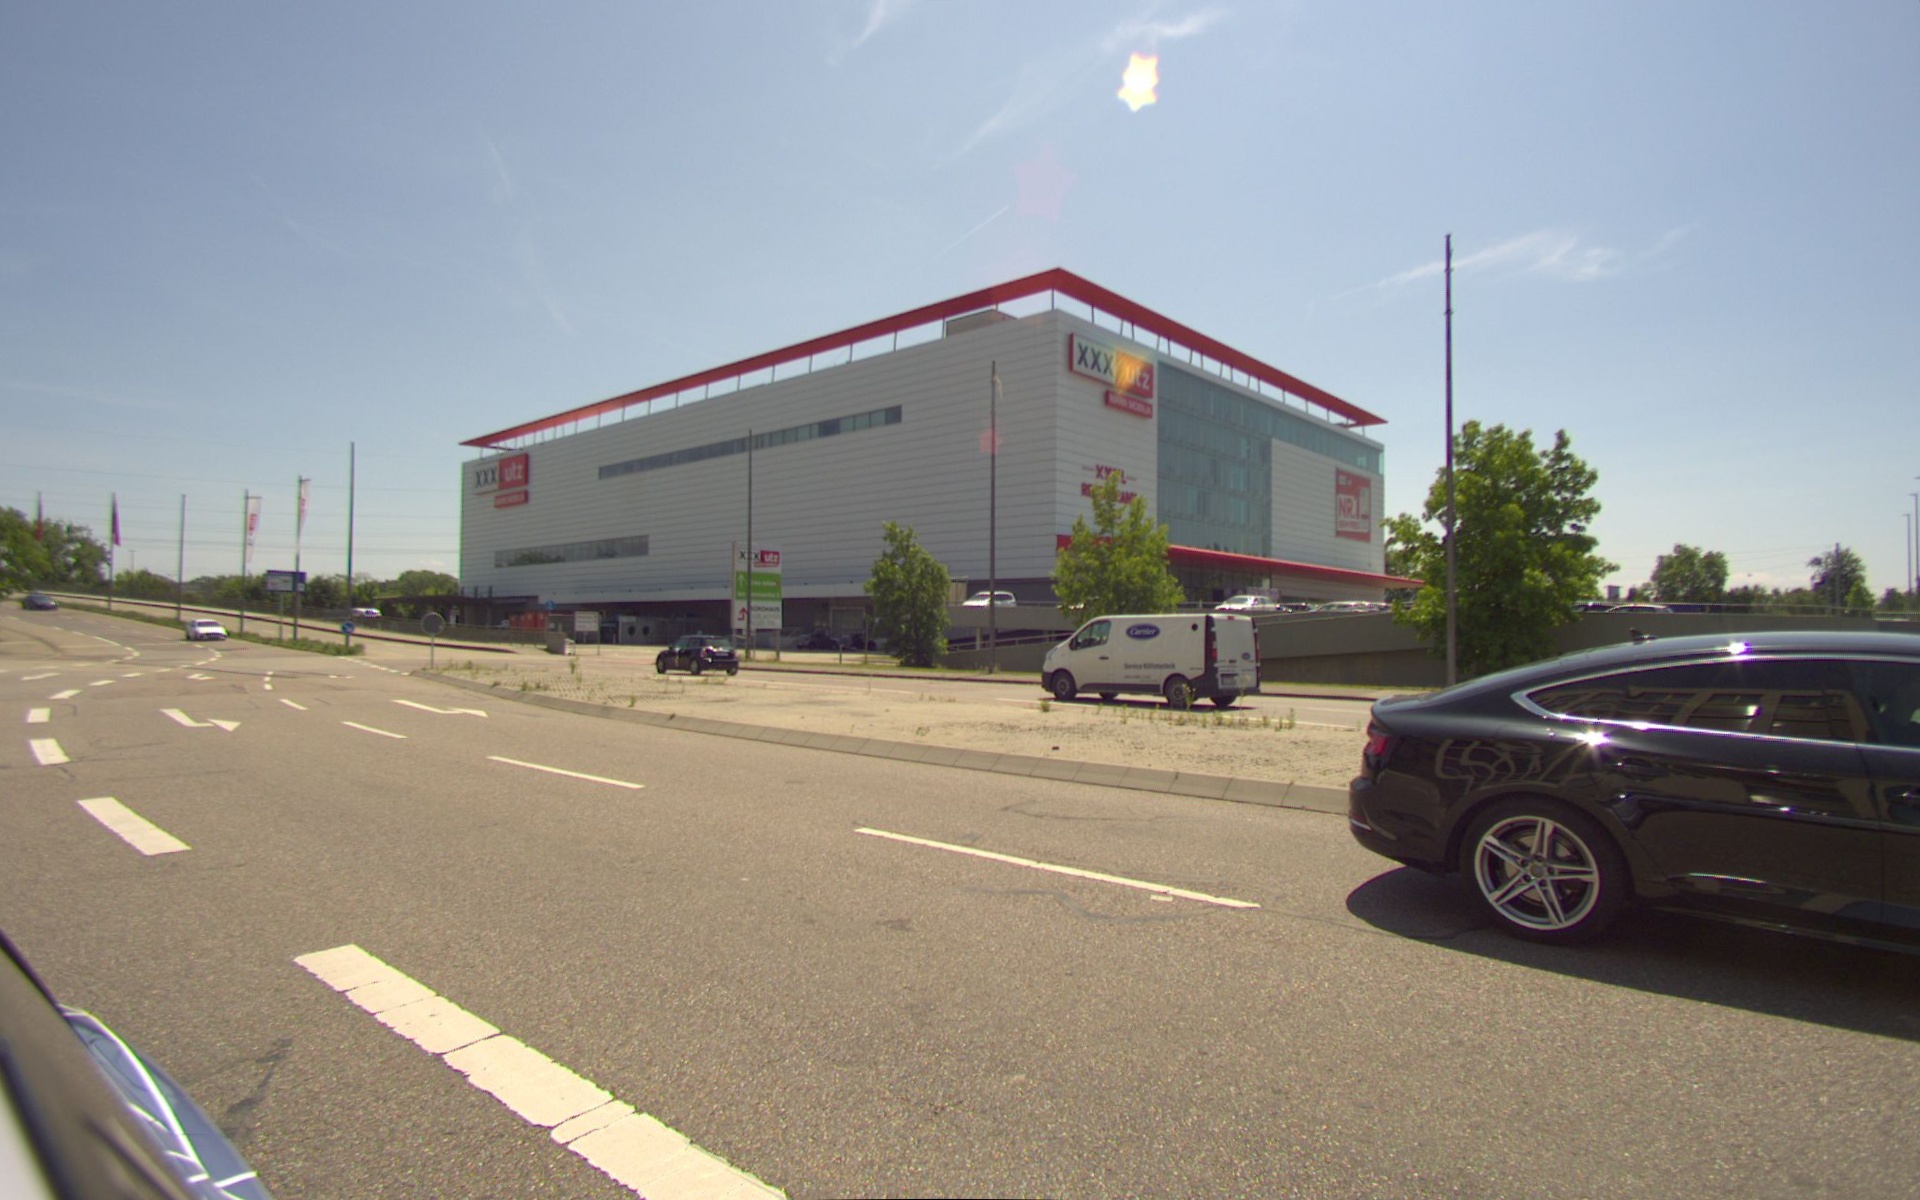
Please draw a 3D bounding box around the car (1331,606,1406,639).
[{"bbox_3d":[25.972,1.454,64.361,3.998,2.029,1.972,-1,-3,41],"label":"car"}]

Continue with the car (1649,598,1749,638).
[{"bbox_3d":[37.516,0.946,51.447,3.994,1.923,1.974,-1,-3,38],"label":"car"}]

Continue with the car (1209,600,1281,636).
[{"bbox_3d":[14.844,0.954,52.594,2.000,1.781,4.141,-1,-3,43],"label":"car"}]

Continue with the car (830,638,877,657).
[{"bbox_3d":[-8.912,3.953,84.770,1.958,1.507,3.437,-1,-3,41],"label":"car"}]

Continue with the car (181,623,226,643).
[{"bbox_3d":[-55.182,2.415,73.806,4.226,1.461,1.713,-2,-3,40],"label":"car"}]

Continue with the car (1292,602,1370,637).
[{"bbox_3d":[22.382,1.206,61.103,3.998,2.029,1.972,-1,-3,41],"label":"car"}]

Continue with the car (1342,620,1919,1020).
[{"bbox_3d":[4.119,0.777,4.038,4.532,1.401,1.729,-2,-2,42],"label":"car"}]

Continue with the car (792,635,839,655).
[{"bbox_3d":[-12.557,3.925,87.804,1.910,1.632,3.699,-1,-3,40],"label":"car"}]

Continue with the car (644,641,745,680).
[{"bbox_3d":[-9.588,2.145,36.409,1.834,1.312,3.896,4,-4,-44],"label":"car"}]

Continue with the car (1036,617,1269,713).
[{"bbox_3d":[4.062,1.365,22.015,1.809,1.864,4.844,3,-4,-43],"label":"car"}]

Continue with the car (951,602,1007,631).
[{"bbox_3d":[1.196,1.051,63.623,1.707,1.709,3.434,-1,-2,41],"label":"car"}]

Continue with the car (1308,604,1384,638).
[{"bbox_3d":[23.912,1.285,62.720,3.998,2.029,1.972,-1,-3,41],"label":"car"}]

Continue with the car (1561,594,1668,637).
[{"bbox_3d":[30.943,0.770,47.893,3.997,1.946,1.973,-1,-3,40],"label":"car"}]
